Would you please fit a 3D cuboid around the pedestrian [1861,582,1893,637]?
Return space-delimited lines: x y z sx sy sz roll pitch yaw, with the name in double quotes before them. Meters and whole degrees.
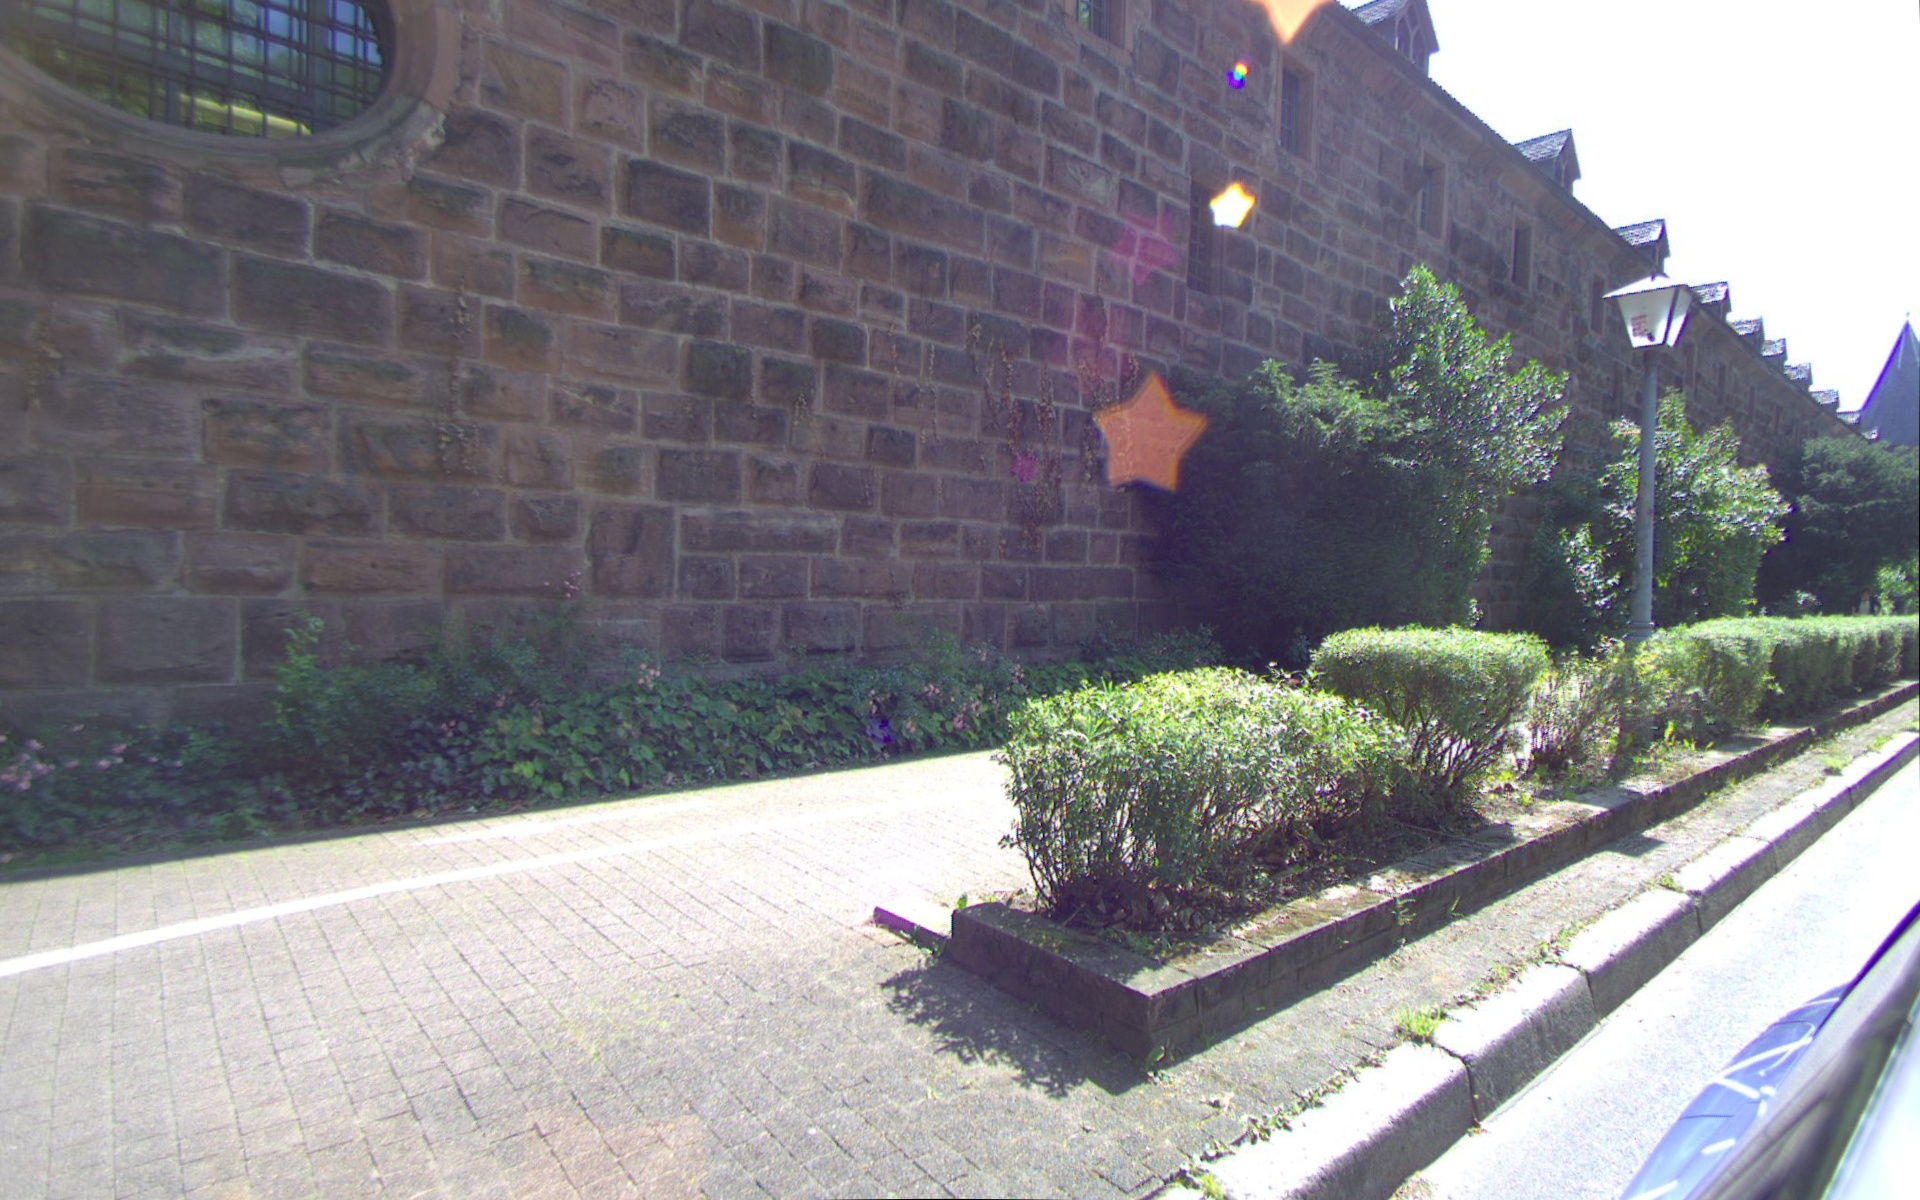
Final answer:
"pedestrian" 27.077 0.272 29.876 0.554 1.583 0.642 0 0 -41
